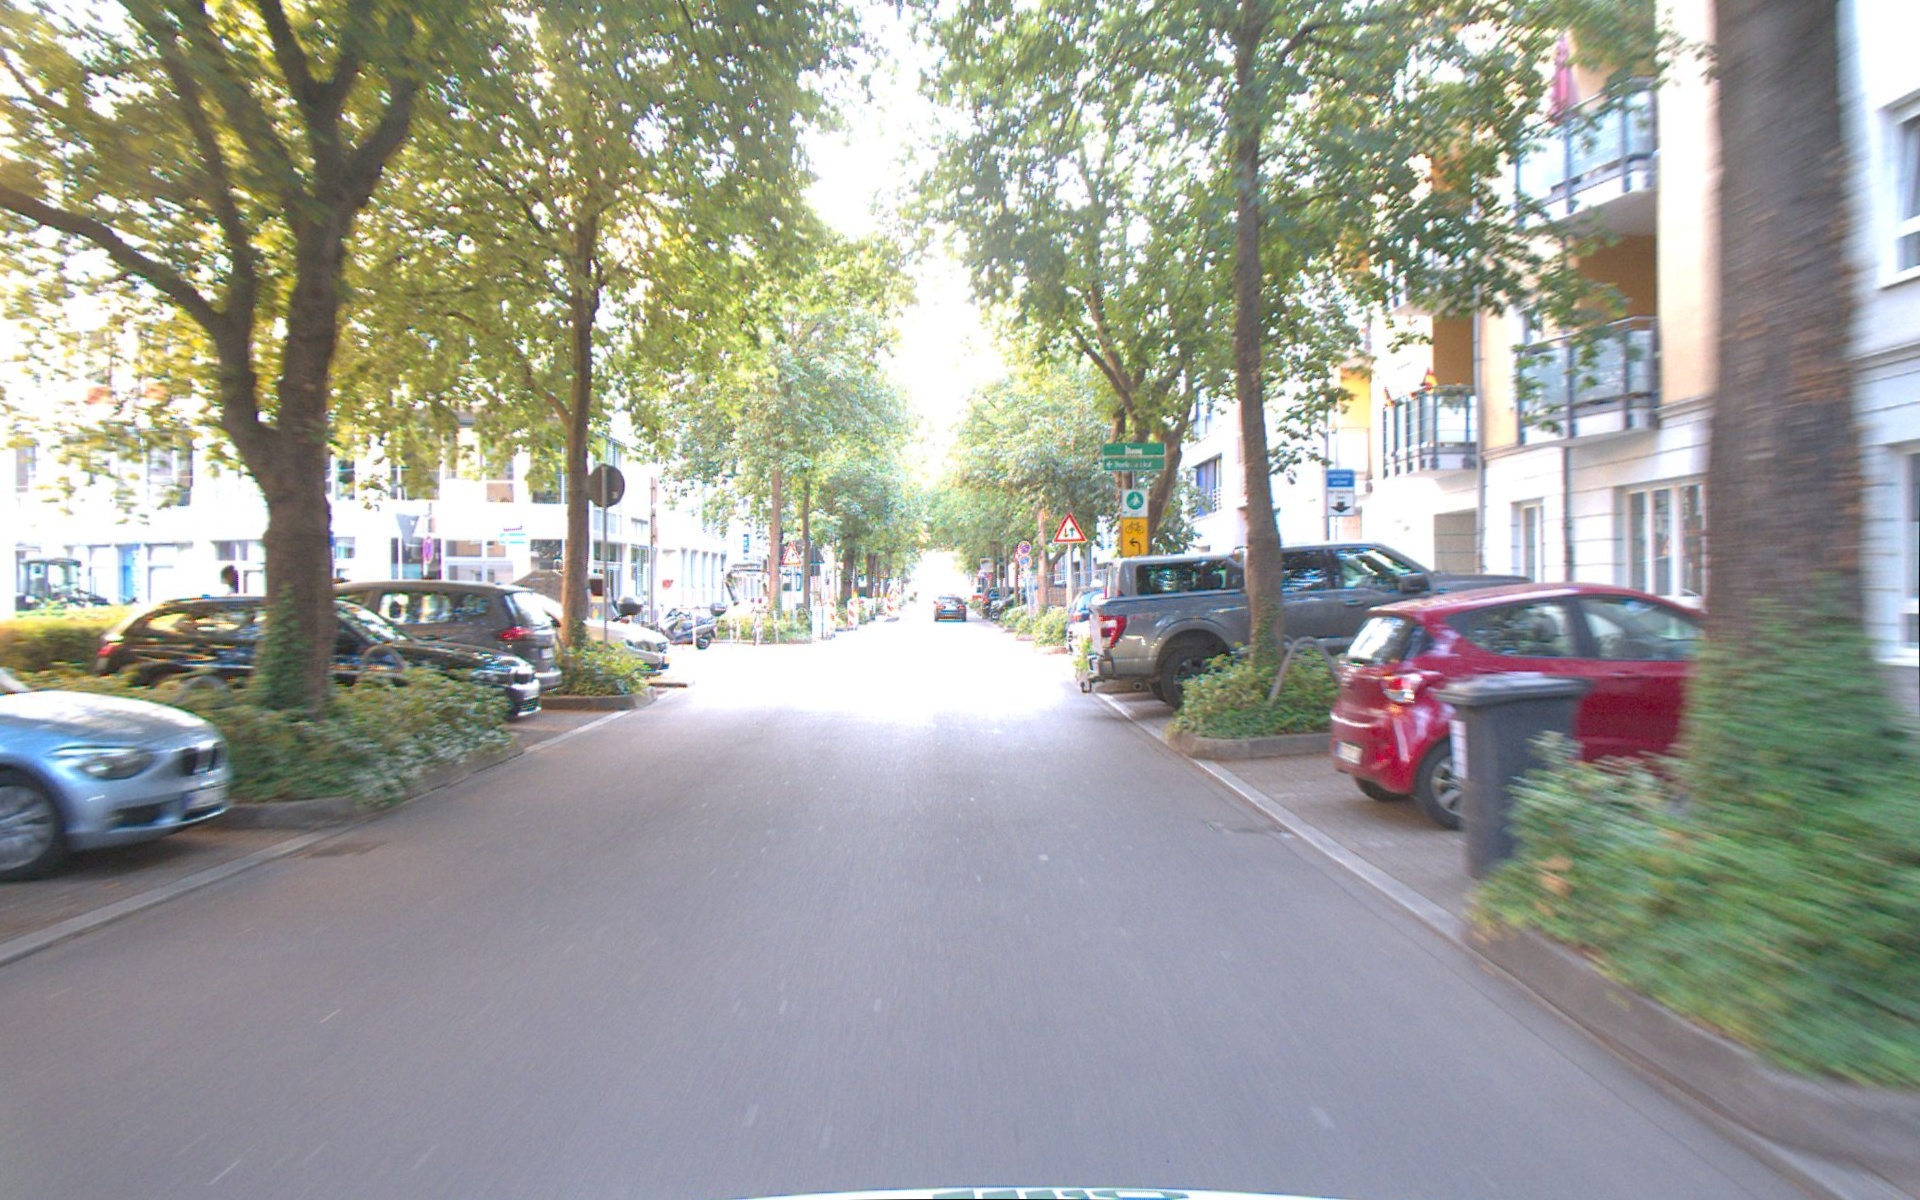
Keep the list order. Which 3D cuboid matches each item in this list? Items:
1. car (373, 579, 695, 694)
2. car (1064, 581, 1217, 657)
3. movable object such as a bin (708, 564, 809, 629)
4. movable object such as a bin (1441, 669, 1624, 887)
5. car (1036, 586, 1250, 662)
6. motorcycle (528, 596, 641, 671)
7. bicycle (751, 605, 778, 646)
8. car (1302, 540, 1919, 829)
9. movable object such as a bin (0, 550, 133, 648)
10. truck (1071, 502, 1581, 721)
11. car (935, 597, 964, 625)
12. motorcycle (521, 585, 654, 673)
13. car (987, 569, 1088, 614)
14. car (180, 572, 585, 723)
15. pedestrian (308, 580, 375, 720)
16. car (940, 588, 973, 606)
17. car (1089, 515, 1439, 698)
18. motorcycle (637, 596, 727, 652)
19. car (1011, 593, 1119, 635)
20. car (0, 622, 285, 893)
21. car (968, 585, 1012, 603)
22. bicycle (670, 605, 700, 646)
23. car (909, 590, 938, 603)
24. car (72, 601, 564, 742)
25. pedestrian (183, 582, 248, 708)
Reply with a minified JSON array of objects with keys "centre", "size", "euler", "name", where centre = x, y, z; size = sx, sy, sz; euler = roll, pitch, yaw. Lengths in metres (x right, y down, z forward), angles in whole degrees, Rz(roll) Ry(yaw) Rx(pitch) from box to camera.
[{"centre":[-6.488,0.550,25.602],"size":[4.406,1.609,2.055],"euler":[1,0,0],"name":"car"},{"centre":[4.119,0.417,38.097],"size":[3.282,1.552,1.746],"euler":[-3,0,0],"name":"car"},{"centre":[-7.675,-0.145,63.254],"size":[3.592,2.373,2.582],"euler":[-1,0,-3],"name":"movable object such as a bin"},{"centre":[3.038,0.928,8.825],"size":[0.759,1.086,0.589],"euler":[0,0,-2],"name":"movable object such as a bin"},{"centre":[3.901,0.485,35.502],"size":[4.203,1.534,1.867],"euler":[-1,0,-12],"name":"car"},{"centre":[-7.152,0.627,31.466],"size":[2.176,1.398,0.722],"euler":[-1,0,30],"name":"motorcycle"},{"centre":[-5.776,0.740,48.985],"size":[0.589,1.137,1.799],"euler":[-1,1,-1],"name":"bicycle"},{"centre":[4.411,0.547,11.450],"size":[3.592,1.575,1.779],"euler":[-4,-1,-3],"name":"car"},{"centre":[-25.550,-0.037,46.698],"size":[4.015,2.680,1.801],"euler":[0,0,24],"name":"movable object such as a bin"},{"centre":[4.517,0.127,21.149],"size":[5.883,2.169,2.260],"euler":[-5,0,-1],"name":"truck"},{"centre":[-0.566,0.589,88.778],"size":[1.470,1.441,3.713],"euler":[0,0,-1],"name":"car"},{"centre":[-6.563,0.504,29.193],"size":[2.171,1.520,0.691],"euler":[-1,0,1],"name":"motorcycle"},{"centre":[3.796,-0.421,81.356],"size":[4.870,2.124,1.738],"euler":[-1,0,-1],"name":"car"},{"centre":[-7.036,0.559,20.554],"size":[4.308,1.714,2.063],"euler":[1,0,-3],"name":"car"},{"centre":[-8.201,0.644,21.946],"size":[0.692,1.819,0.521],"euler":[-1,0,-41],"name":"pedestrian"},{"centre":[-0.402,-0.320,195.965],"size":[3.904,2.049,2.000],"euler":[-1,0,1],"name":"car"},{"centre":[4.280,0.085,23.860],"size":[4.527,2.170,2.036],"euler":[-4,0,-1],"name":"car"},{"centre":[-7.592,0.640,45.242],"size":[2.358,1.466,0.790],"euler":[-1,0,-41],"name":"motorcycle"},{"centre":[4.298,0.574,67.871],"size":[4.345,1.619,1.629],"euler":[-1,0,1],"name":"car"},{"centre":[-6.317,0.845,9.654],"size":[4.018,1.403,1.746],"euler":[1,0,-3],"name":"car"},{"centre":[2.730,-0.550,152.063],"size":[3.908,1.625,1.998],"euler":[0,0,-4],"name":"car"},{"centre":[-8.067,0.743,48.610],"size":[0.589,1.137,1.799],"euler":[-1,1,-1],"name":"bicycle"},{"centre":[-5.260,-0.496,237.345],"size":[3.913,1.948,1.774],"euler":[-1,0,-9],"name":"car"},{"centre":[-6.909,0.739,18.244],"size":[4.621,1.449,2.070],"euler":[0,0,-3],"name":"car"},{"centre":[-9.583,0.569,21.283],"size":[0.646,1.599,0.448],"euler":[0,0,24],"name":"pedestrian"}]
